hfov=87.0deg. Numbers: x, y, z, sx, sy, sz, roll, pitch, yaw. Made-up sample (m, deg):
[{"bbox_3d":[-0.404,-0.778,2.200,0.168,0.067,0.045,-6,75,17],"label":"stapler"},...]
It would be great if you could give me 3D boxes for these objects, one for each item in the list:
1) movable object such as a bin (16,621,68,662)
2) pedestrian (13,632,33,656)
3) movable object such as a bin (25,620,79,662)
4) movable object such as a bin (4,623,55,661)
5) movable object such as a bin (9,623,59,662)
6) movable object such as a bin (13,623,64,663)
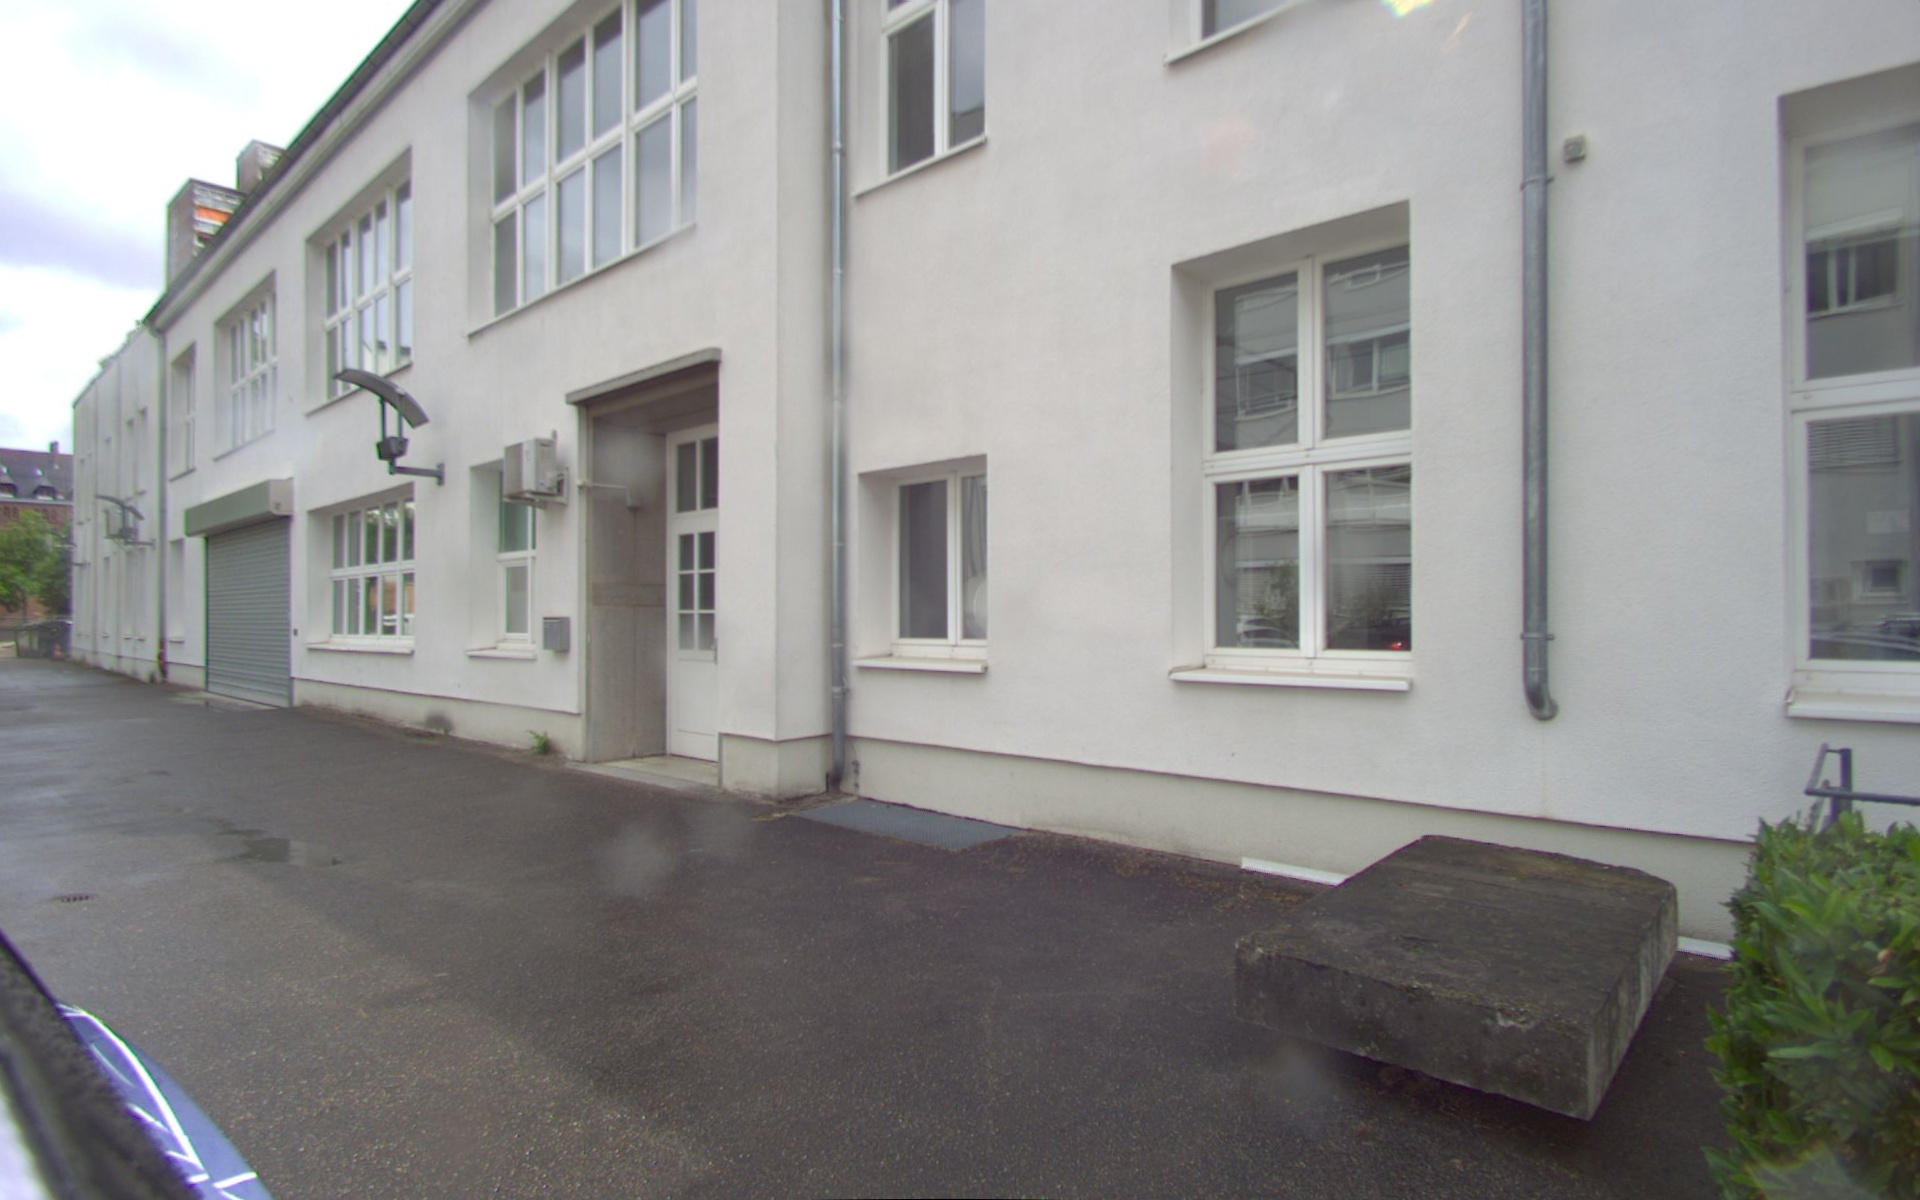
[{"bbox_3d":[-34.993,1.583,38.587,1.365,1.482,1.345,-3,-1,42],"label":"movable object such as a bin"},{"bbox_3d":[-58.479,2.735,63.191,0.616,1.520,0.648,-1,-2,2],"label":"pedestrian"},{"bbox_3d":[-33.721,1.526,37.580,1.365,1.482,1.345,-3,-1,42],"label":"movable object such as a bin"},{"bbox_3d":[-38.299,1.738,41.646,1.560,1.482,1.394,-3,-1,42],"label":"movable object such as a bin"},{"bbox_3d":[-37.105,1.709,40.570,1.465,1.482,1.345,-3,-1,42],"label":"movable object such as a bin"},{"bbox_3d":[-36.050,1.666,39.606,1.352,1.482,1.345,-3,-1,42],"label":"movable object such as a bin"}]
